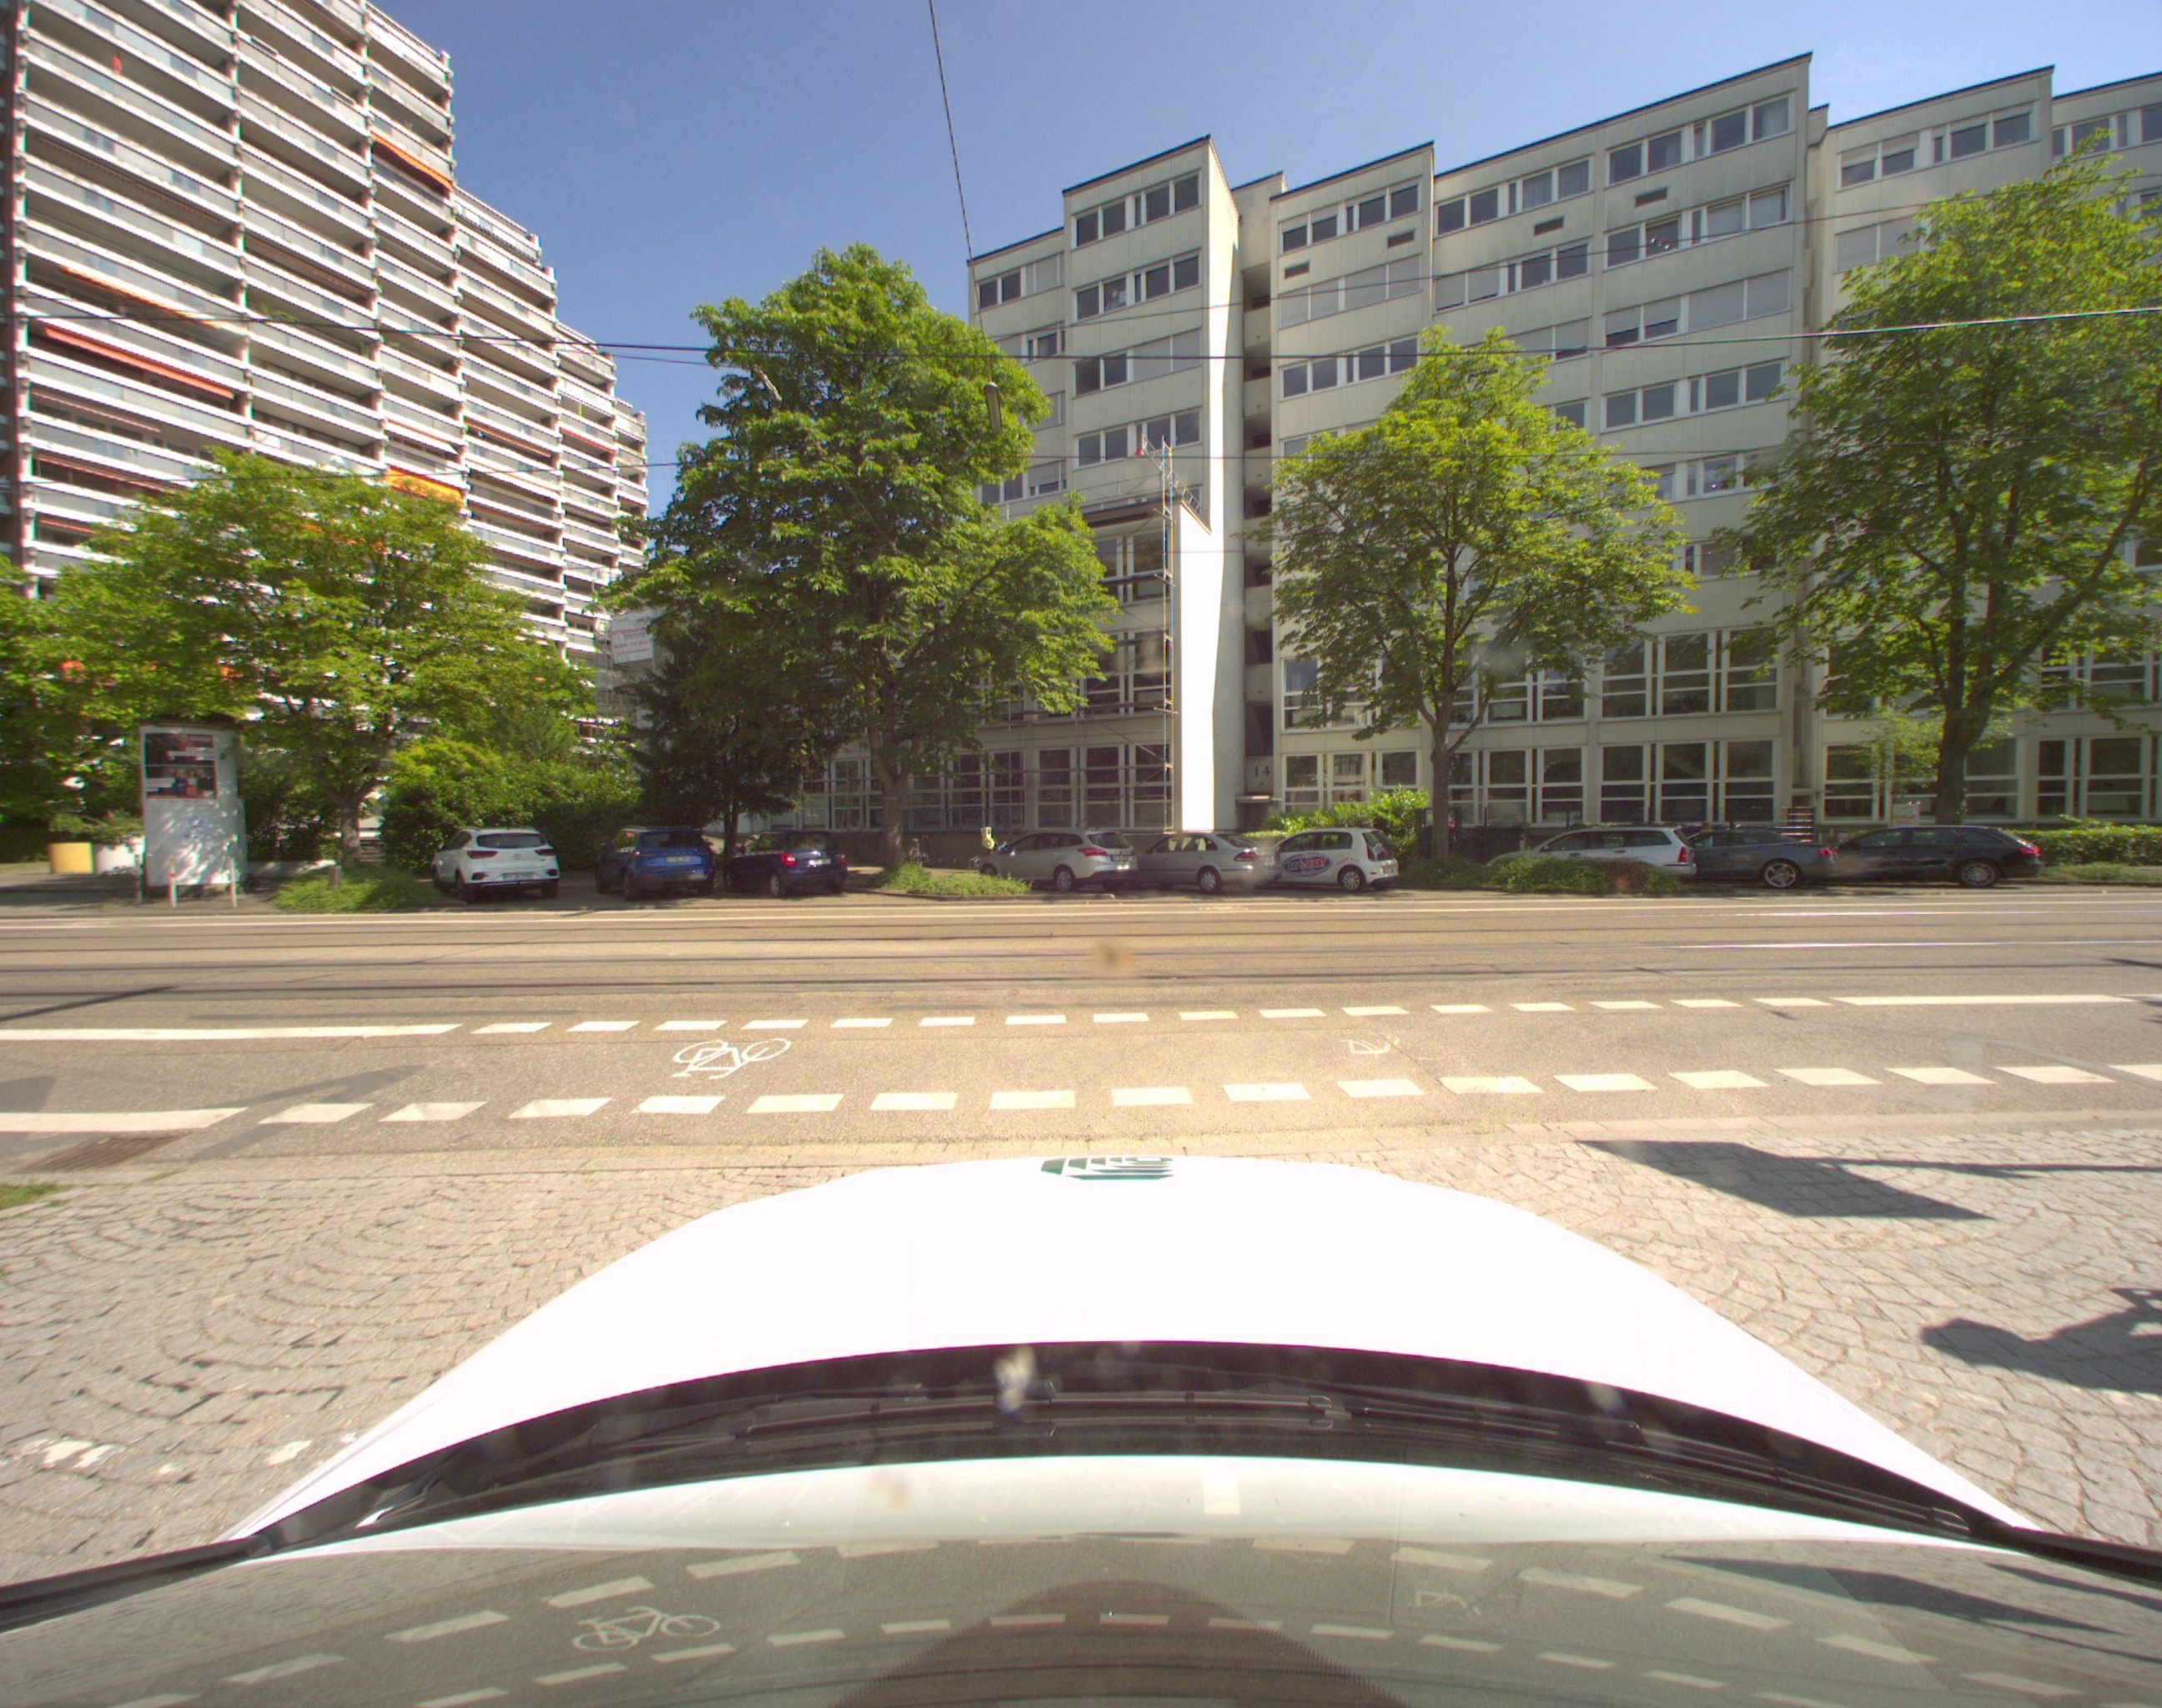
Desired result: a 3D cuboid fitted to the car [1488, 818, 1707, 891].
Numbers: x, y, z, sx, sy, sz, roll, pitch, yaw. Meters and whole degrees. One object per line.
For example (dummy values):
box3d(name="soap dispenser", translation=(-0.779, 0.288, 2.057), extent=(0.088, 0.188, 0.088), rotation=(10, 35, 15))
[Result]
box3d(name="car", translation=(12.403, -0.026, 19.734), extent=(4.289, 1.604, 1.568), rotation=(1, 1, 41))

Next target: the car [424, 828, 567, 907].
box3d(name="car", translation=(-13.452, 0.218, 18.626), extent=(3.895, 1.606, 1.831), rotation=(1, 2, 42))

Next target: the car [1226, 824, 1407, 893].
box3d(name="car", translation=(5.601, 0.084, 19.668), extent=(1.623, 1.486, 3.896), rotation=(-2, 2, -45))

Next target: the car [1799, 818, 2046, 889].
box3d(name="car", translation=(19.428, -0.061, 19.047), extent=(3.896, 1.486, 1.568), rotation=(1, 2, 44))

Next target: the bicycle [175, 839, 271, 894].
box3d(name="bicycle", translation=(-21.101, 0.306, 20.047), extent=(1.614, 1.308, 0.546), rotation=(-1, 1, -7))

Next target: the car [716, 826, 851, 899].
box3d(name="car", translation=(-6.969, 0.136, 18.966), extent=(3.415, 1.530, 1.586), rotation=(1, 2, 44))

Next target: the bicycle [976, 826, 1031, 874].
box3d(name="bicycle", translation=(-2.462, -0.149, 26.094), extent=(0.655, 1.453, 2.103), rotation=(0, 2, 30))

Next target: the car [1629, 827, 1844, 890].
box3d(name="car", translation=(15.648, 0.045, 19.575), extent=(3.896, 1.357, 1.568), rotation=(1, 2, 44))

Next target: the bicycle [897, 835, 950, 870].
box3d(name="bicycle", translation=(-5.189, -0.079, 26.958), extent=(0.735, 1.085, 2.214), rotation=(0, 2, 18))

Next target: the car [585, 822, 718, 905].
box3d(name="car", translation=(-10.033, 0.119, 18.893), extent=(1.790, 1.622, 3.899), rotation=(-3, 4, -42))

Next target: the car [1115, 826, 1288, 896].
box3d(name="car", translation=(2.787, 0.098, 19.371), extent=(1.622, 1.486, 3.897), rotation=(-2, 2, -44))

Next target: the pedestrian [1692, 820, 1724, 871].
box3d(name="pedestrian", translation=(18.370, -0.255, 23.864), extent=(0.618, 1.460, 0.424), rotation=(-1, 1, -4))

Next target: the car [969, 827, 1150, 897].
box3d(name="car", translation=(-0.608, 0.121, 19.581), extent=(4.380, 1.486, 1.795), rotation=(1, 2, 44))
